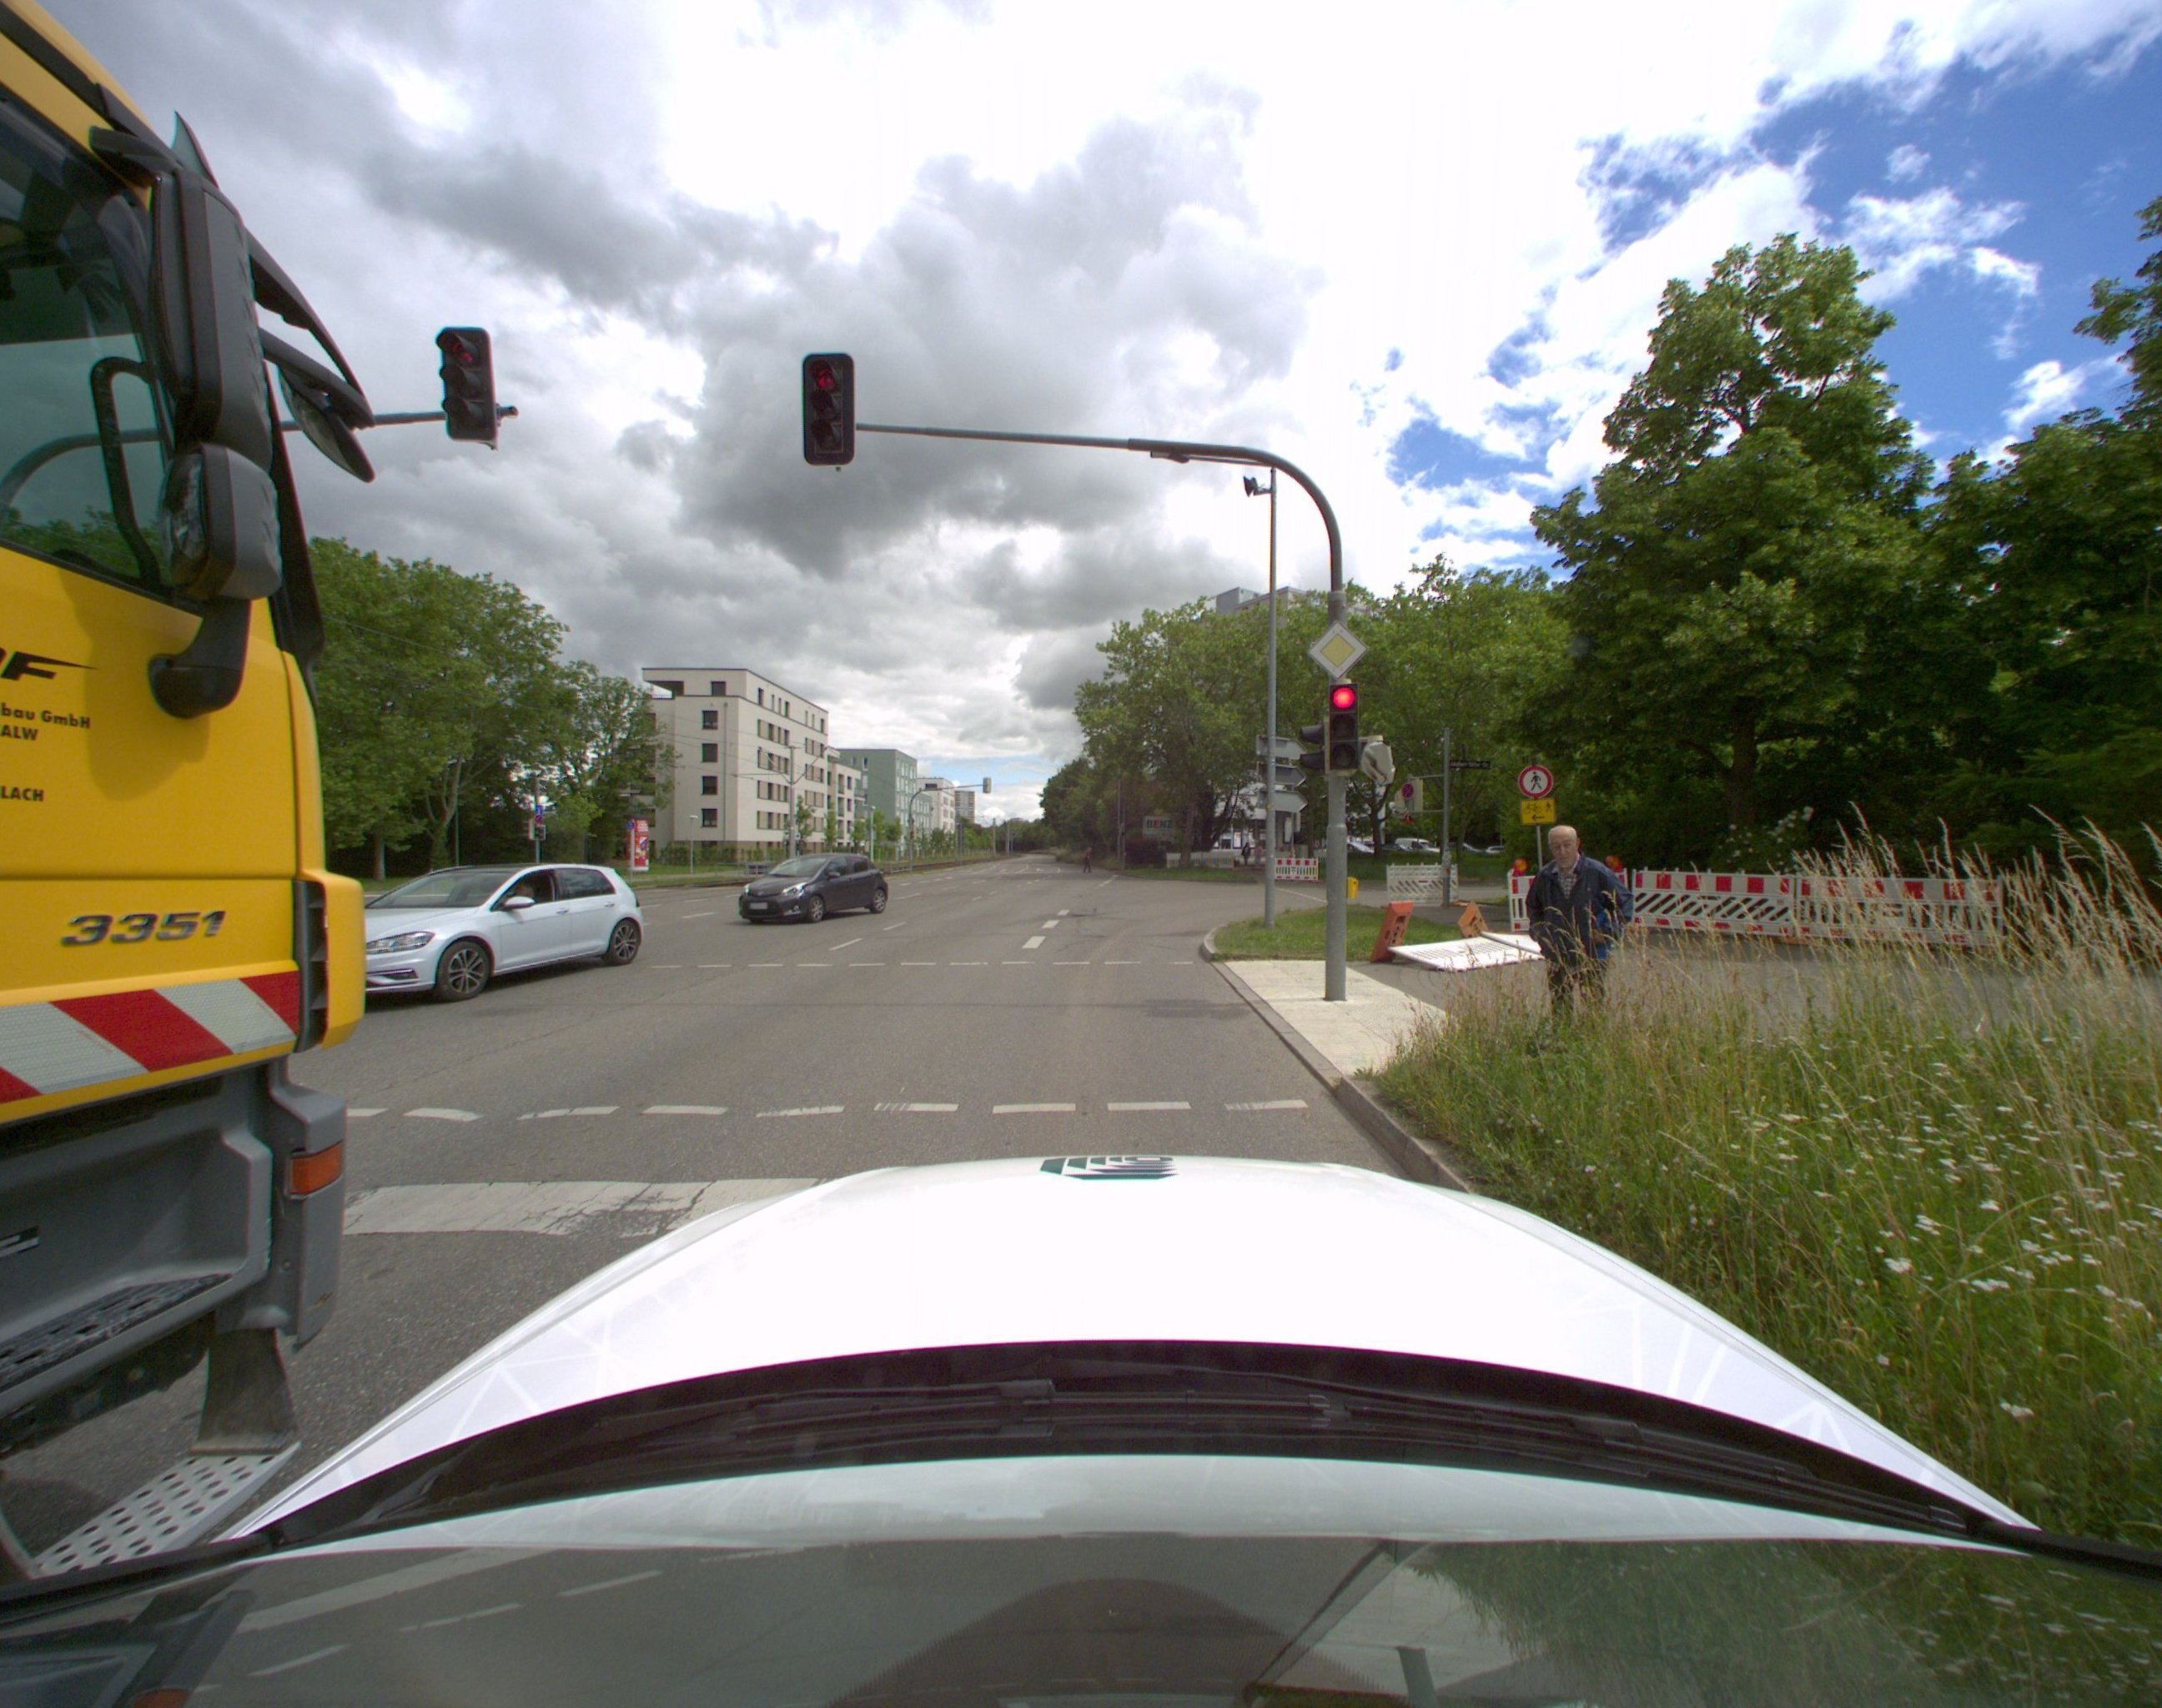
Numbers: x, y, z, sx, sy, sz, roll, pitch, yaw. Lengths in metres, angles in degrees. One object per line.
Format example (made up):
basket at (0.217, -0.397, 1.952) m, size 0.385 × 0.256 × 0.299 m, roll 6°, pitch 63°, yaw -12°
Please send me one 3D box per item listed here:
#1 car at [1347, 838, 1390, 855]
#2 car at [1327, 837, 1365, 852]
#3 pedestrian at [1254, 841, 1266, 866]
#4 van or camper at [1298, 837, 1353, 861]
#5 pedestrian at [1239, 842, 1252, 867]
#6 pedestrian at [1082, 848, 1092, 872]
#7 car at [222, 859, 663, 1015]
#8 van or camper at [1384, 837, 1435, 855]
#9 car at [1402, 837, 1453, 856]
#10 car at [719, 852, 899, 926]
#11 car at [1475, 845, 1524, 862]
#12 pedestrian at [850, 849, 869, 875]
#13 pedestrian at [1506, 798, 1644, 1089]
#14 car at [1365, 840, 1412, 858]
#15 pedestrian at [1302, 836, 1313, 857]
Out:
car at (28.022, -0.763, 79.399) m, size 1.677 × 1.634 × 3.787 m, roll 0°, pitch 1°, yaw -28°
car at (25.311, -0.890, 77.805) m, size 1.489 × 1.404 × 3.377 m, roll 0°, pitch -1°, yaw -29°
pedestrian at (10.745, -0.020, 48.903) m, size 0.680 × 1.489 × 0.702 m, roll -1°, pitch -1°, yaw 16°
van or camper at (18.476, -0.378, 61.726) m, size 1.849 × 1.684 × 3.967 m, roll -1°, pitch 0°, yaw -25°
pedestrian at (9.906, 0.054, 49.012) m, size 0.712 × 1.489 × 0.702 m, roll -1°, pitch -1°, yaw 17°
pedestrian at (0.390, 0.377, 52.104) m, size 0.650 × 1.539 × 0.773 m, roll 0°, pitch -1°, yaw 2°
car at (-7.286, 0.815, 10.006) m, size 1.753 × 1.441 × 4.285 m, roll -1°, pitch 0°, yaw 6°
van or camper at (26.974, -0.640, 67.054) m, size 1.523 × 1.356 × 3.738 m, roll 0°, pitch -1°, yaw -31°
car at (29.018, -0.594, 68.342) m, size 1.489 × 1.465 × 3.856 m, roll 0°, pitch -1°, yaw -29°
car at (-6.112, 0.722, 18.813) m, size 1.762 × 1.469 × 4.064 m, roll -1°, pitch 0°, yaw 20°
car at (38.109, -0.034, 74.289) m, size 1.736 × 1.500 × 3.714 m, roll 0°, pitch -1°, yaw -24°
pedestrian at (-13.387, 0.491, 49.169) m, size 0.787 × 1.586 × 0.854 m, roll -1°, pitch -1°, yaw 16°
pedestrian at (3.316, 0.529, 5.458) m, size 0.719 × 1.740 × 0.962 m, roll -1°, pitch 0°, yaw 34°
car at (24.316, -0.372, 64.522) m, size 1.488 × 1.404 × 3.378 m, roll 0°, pitch -1°, yaw -27°
pedestrian at (21.475, -0.683, 77.205) m, size 0.802 × 2.002 × 0.852 m, roll 0°, pitch -1°, yaw -3°
